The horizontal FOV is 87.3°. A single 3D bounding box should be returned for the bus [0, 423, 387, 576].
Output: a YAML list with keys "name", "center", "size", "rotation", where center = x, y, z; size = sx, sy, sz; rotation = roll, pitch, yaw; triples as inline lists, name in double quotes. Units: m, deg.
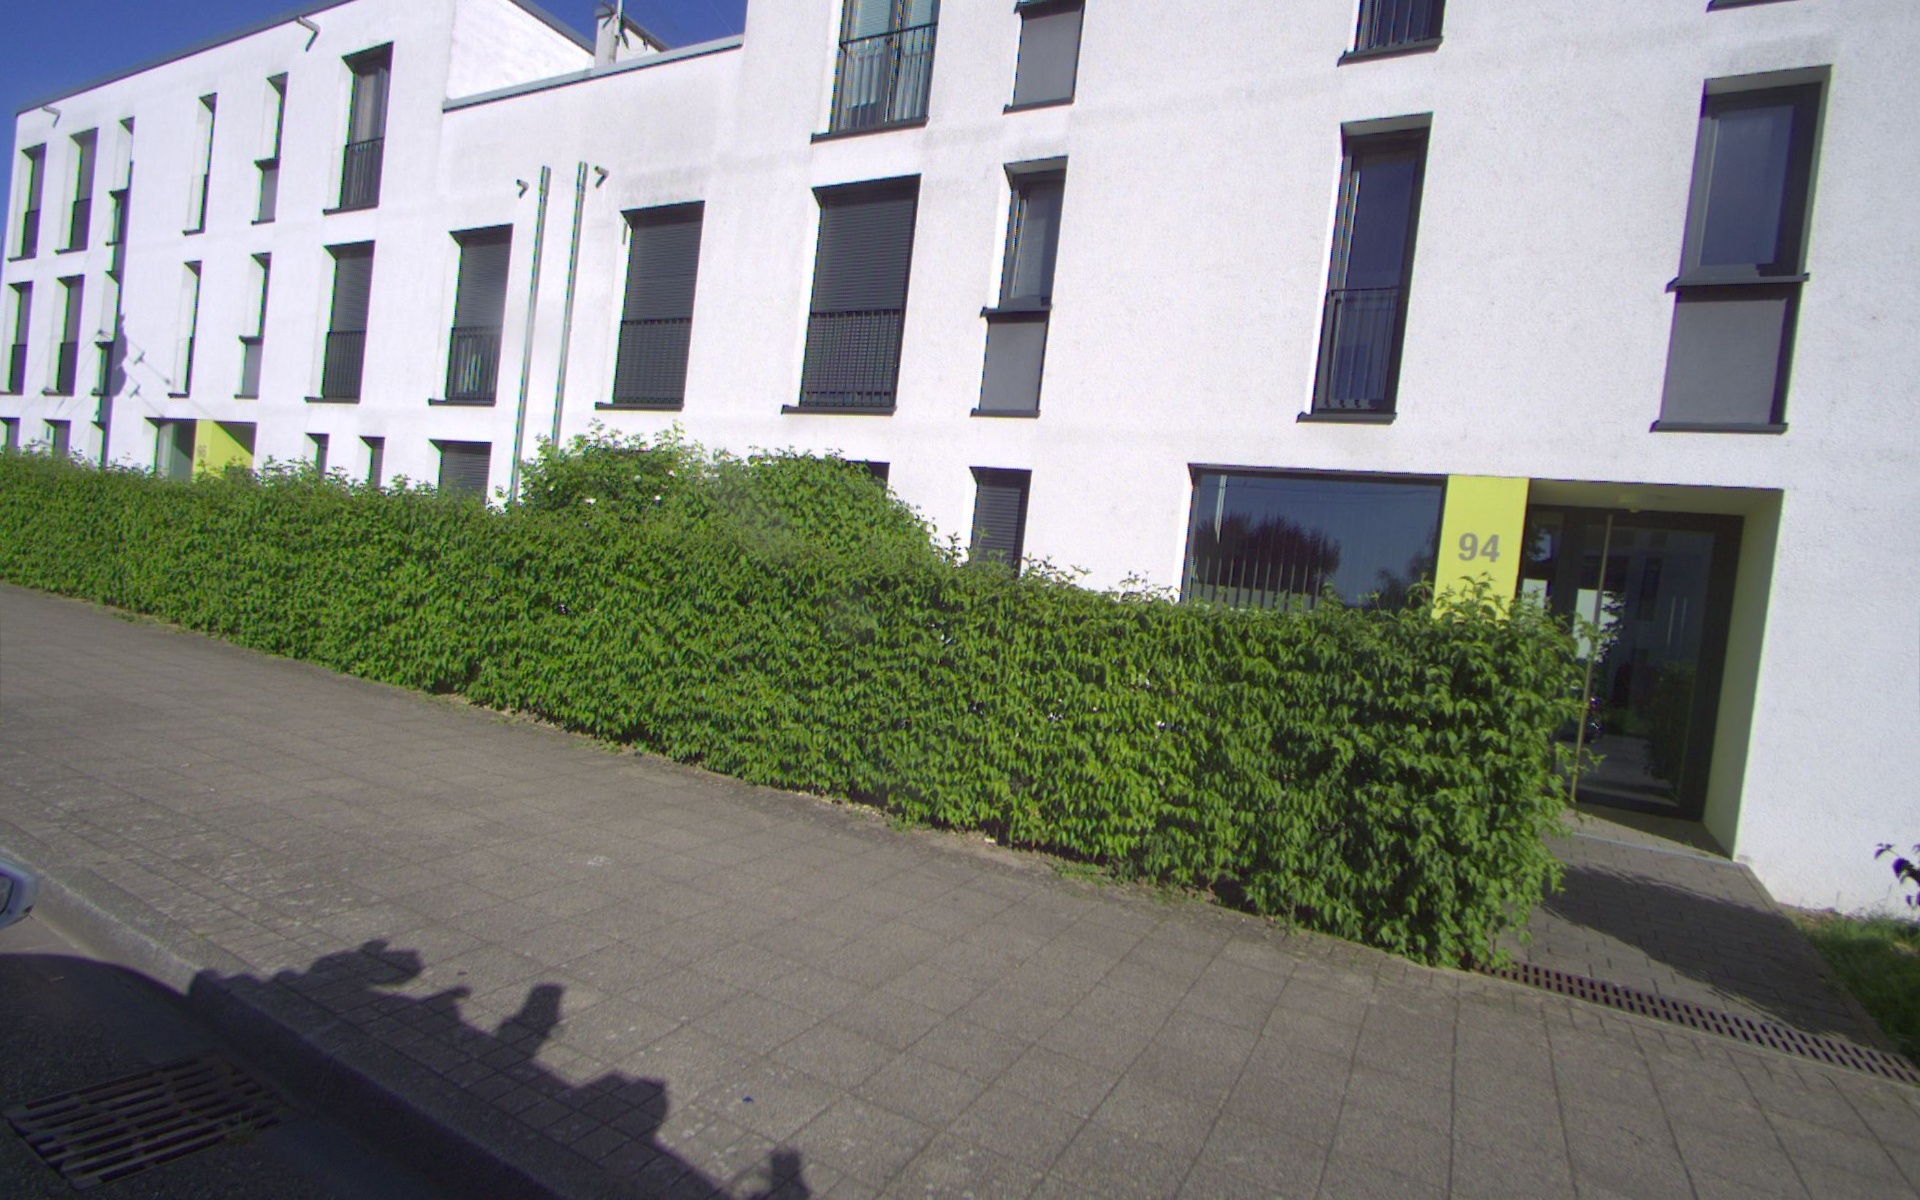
- name: "bus"
  center: [-29.405, -3.503, 37.993]
  size: [2.796, 3.715, 14.681]
  rotation: [8, -1, 22]
